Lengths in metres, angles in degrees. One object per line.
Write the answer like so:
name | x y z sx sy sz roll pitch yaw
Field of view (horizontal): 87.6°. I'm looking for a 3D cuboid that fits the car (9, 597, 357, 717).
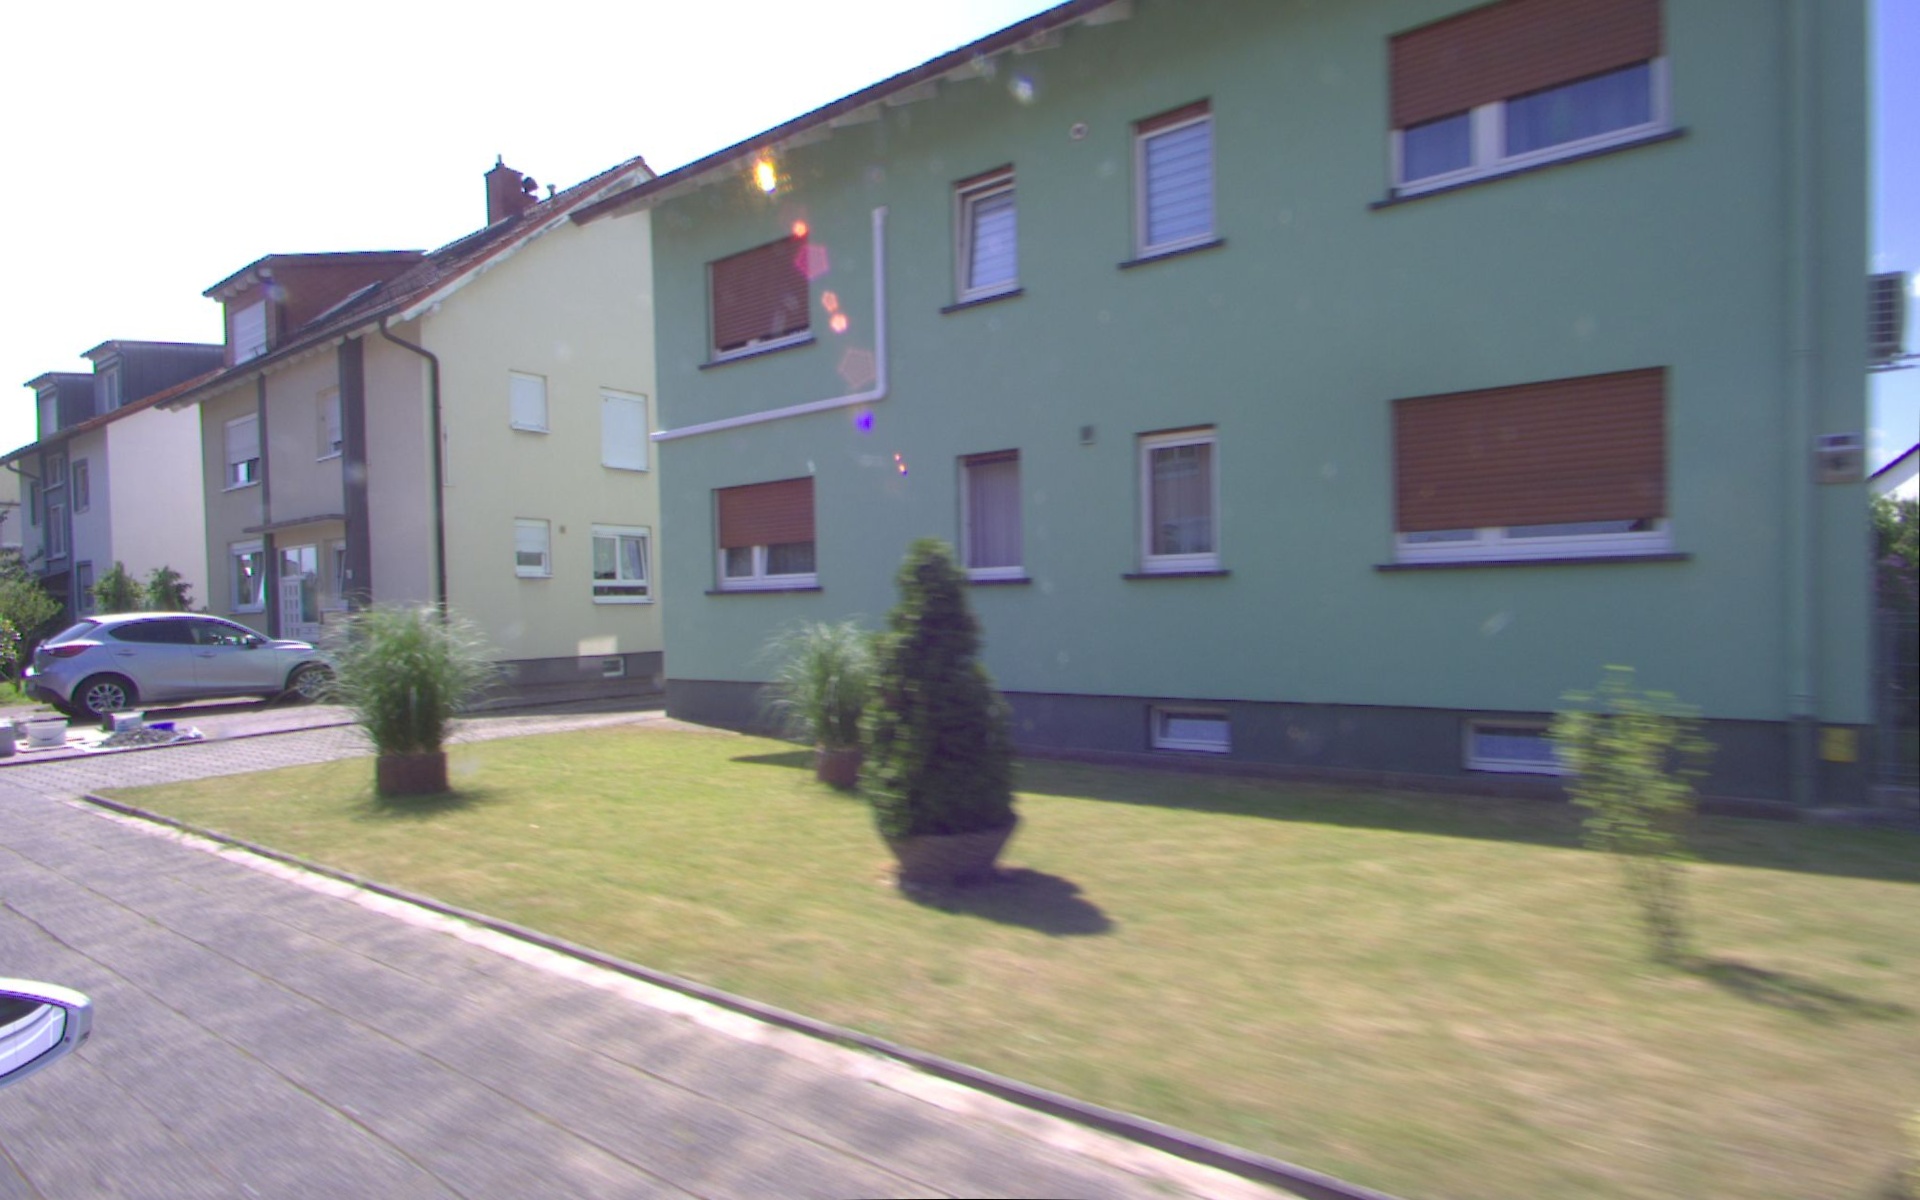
car | -11.853 0.770 15.511 1.751 1.530 3.899 -1 1 36
